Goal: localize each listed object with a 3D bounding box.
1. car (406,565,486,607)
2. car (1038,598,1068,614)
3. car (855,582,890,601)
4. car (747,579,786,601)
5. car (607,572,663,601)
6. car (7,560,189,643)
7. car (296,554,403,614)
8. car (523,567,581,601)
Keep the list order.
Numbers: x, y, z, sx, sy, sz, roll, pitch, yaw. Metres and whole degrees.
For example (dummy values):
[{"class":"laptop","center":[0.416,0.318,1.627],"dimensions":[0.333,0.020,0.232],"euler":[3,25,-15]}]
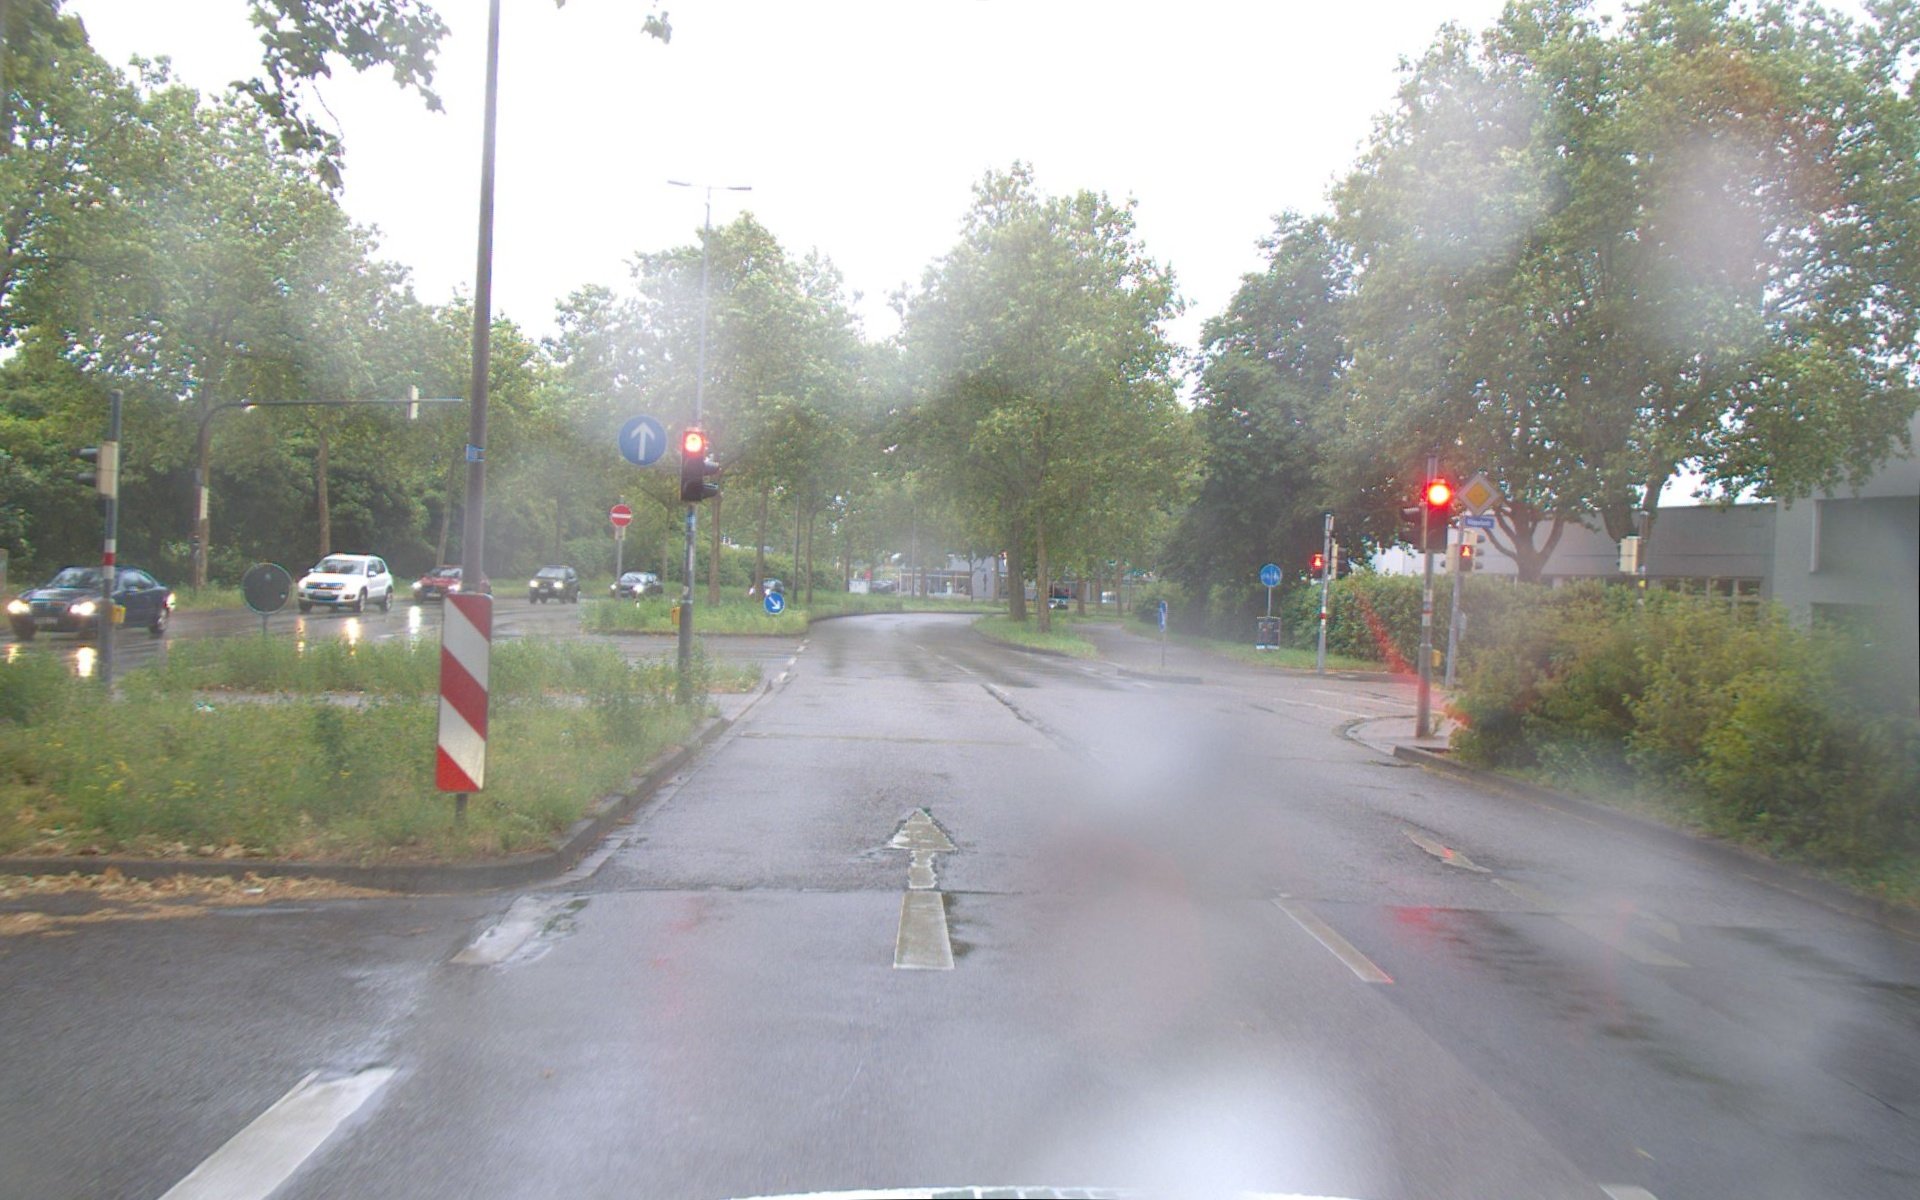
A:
[{"class":"car","center":[-18.650,-0.497,60.192],"dimensions":[1.709,1.432,4.441],"euler":[2,0,-3]},{"class":"car","center":[8.981,0.566,159.003],"dimensions":[1.961,1.477,4.995],"euler":[2,0,14]},{"class":"car","center":[-10.510,-0.971,198.889],"dimensions":[3.916,2.049,1.994],"euler":[3,-1,-12]},{"class":"car","center":[-12.496,-0.634,107.067],"dimensions":[1.553,1.396,4.265],"euler":[2,0,7]},{"class":"car","center":[-16.624,-0.652,84.659],"dimensions":[1.553,1.396,4.265],"euler":[2,0,6]},{"class":"car","center":[-17.185,-0.020,33.209],"dimensions":[1.710,1.464,4.439],"euler":[2,2,-6]},{"class":"car","center":[-18.249,-0.475,49.641],"dimensions":[1.708,1.660,4.442],"euler":[2,0,-3]},{"class":"car","center":[-18.162,-0.698,73.707],"dimensions":[1.554,1.396,3.335],"euler":[2,0,3]}]
